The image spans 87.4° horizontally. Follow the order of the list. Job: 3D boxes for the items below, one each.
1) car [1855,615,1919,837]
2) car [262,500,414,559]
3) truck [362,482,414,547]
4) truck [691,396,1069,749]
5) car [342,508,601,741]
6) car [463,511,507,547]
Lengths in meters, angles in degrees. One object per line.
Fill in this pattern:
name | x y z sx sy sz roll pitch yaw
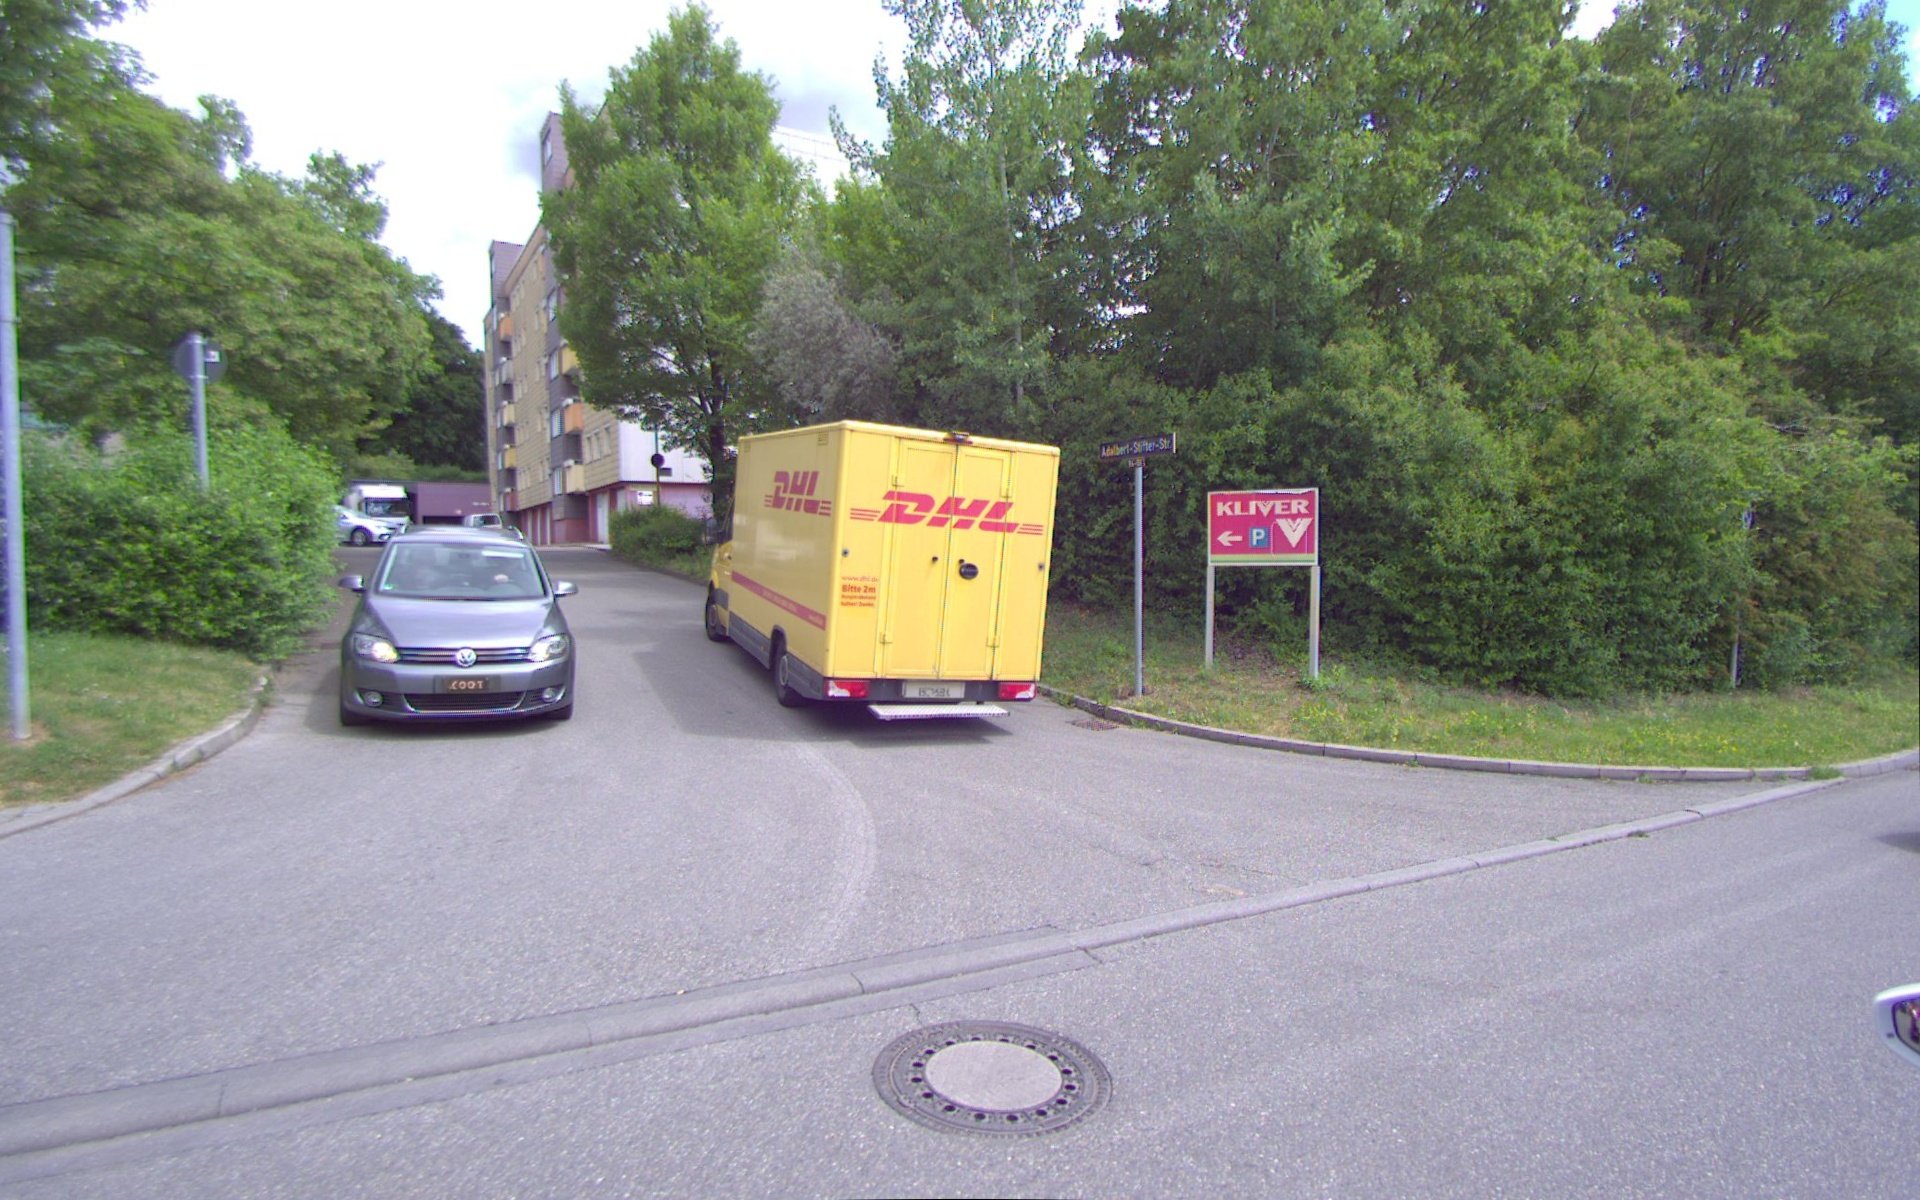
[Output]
car | 8.289 0.906 6.546 3.588 1.475 1.843 2 0 -11
car | -20.639 -2.315 33.464 3.931 1.684 1.655 3 3 -13
truck | -36.114 -5.364 63.301 2.551 3.743 7.269 1 3 -32
truck | -1.415 -0.569 11.485 2.202 2.847 6.531 1 7 -24
car | -4.567 0.070 9.487 1.735 1.684 4.091 2 3 -26
car | -28.021 -4.141 59.160 1.776 1.850 3.962 1 0 -34
